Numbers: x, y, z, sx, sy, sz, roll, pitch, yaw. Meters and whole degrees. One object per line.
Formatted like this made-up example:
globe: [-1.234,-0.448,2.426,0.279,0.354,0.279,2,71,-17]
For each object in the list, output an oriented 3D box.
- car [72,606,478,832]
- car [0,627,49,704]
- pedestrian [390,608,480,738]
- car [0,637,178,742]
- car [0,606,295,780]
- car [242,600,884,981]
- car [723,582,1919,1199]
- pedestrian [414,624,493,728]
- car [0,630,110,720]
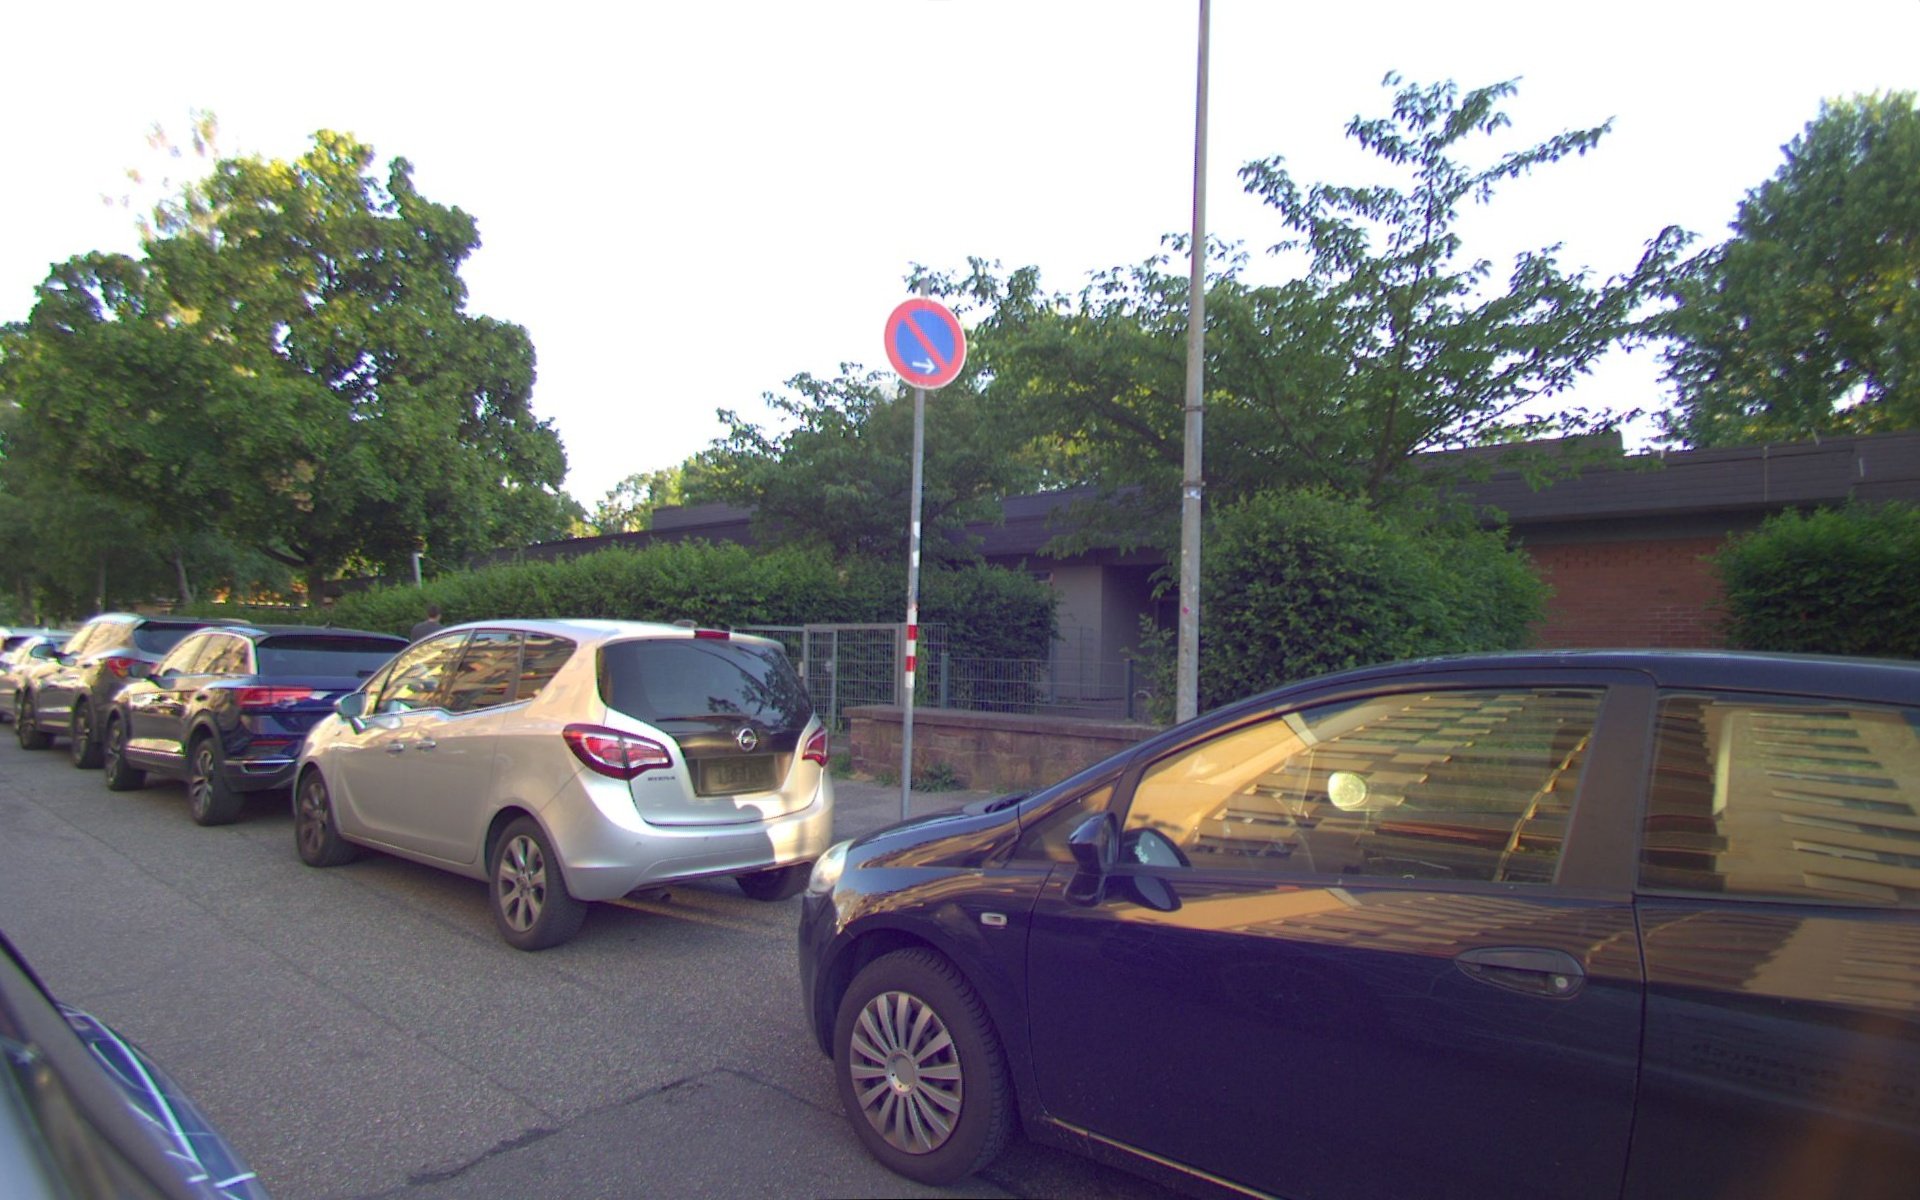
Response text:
car: [-6.250,0.936,9.077,4.160,1.579,1.717,-2,-5,37]
car: [-21.913,1.432,22.622,3.978,1.644,1.715,-2,-5,41]
pedestrian: [-7.437,1.007,14.340,0.749,1.745,0.890,-2,-1,38]
car: [-14.126,1.340,15.966,4.280,1.438,1.717,-2,-5,37]
car: [-9.879,1.041,12.192,4.316,1.743,1.717,-2,-5,37]
car: [-2.588,0.893,6.186,4.123,1.579,1.717,-2,-5,37]
car: [1.293,0.836,2.601,3.691,1.579,1.717,-2,-5,37]
pedestrian: [-7.758,1.139,15.498,0.900,1.519,0.741,-2,-1,38]
car: [-17.846,1.375,19.142,4.273,1.555,1.742,-2,-5,37]
